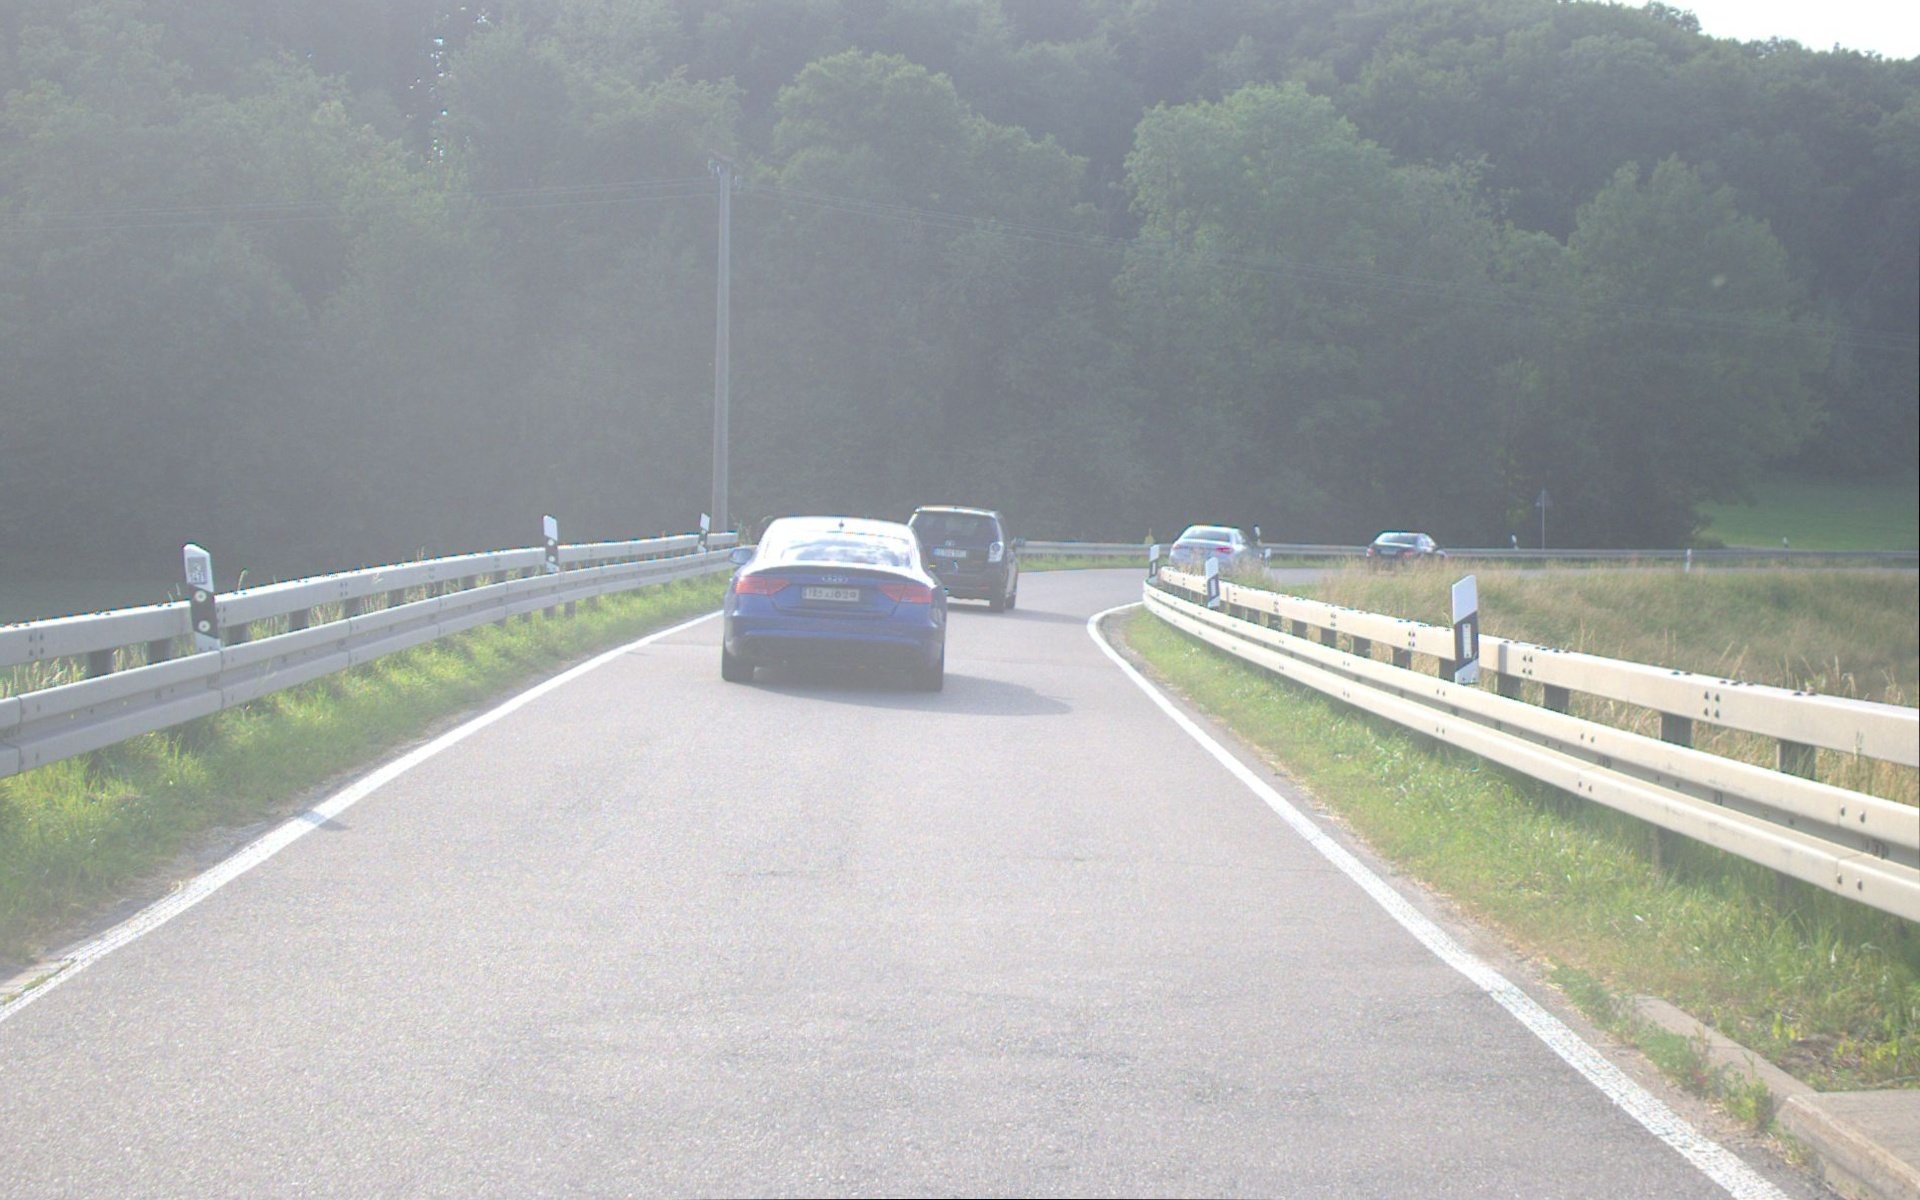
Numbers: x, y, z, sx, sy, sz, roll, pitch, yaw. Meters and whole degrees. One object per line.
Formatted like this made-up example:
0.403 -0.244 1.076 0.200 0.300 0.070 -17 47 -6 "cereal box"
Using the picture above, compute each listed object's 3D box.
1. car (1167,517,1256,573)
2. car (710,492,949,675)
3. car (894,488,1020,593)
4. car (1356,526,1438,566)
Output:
6.555 -1.438 89.254 1.683 1.371 3.998 2 1 13 "car"
-1.037 -0.198 29.290 1.818 1.334 4.350 3 2 0 "car"
-0.012 -0.978 54.925 1.862 1.563 4.000 2 2 1 "car"
14.039 -1.748 110.442 1.473 1.223 3.294 2 2 29 "car"
